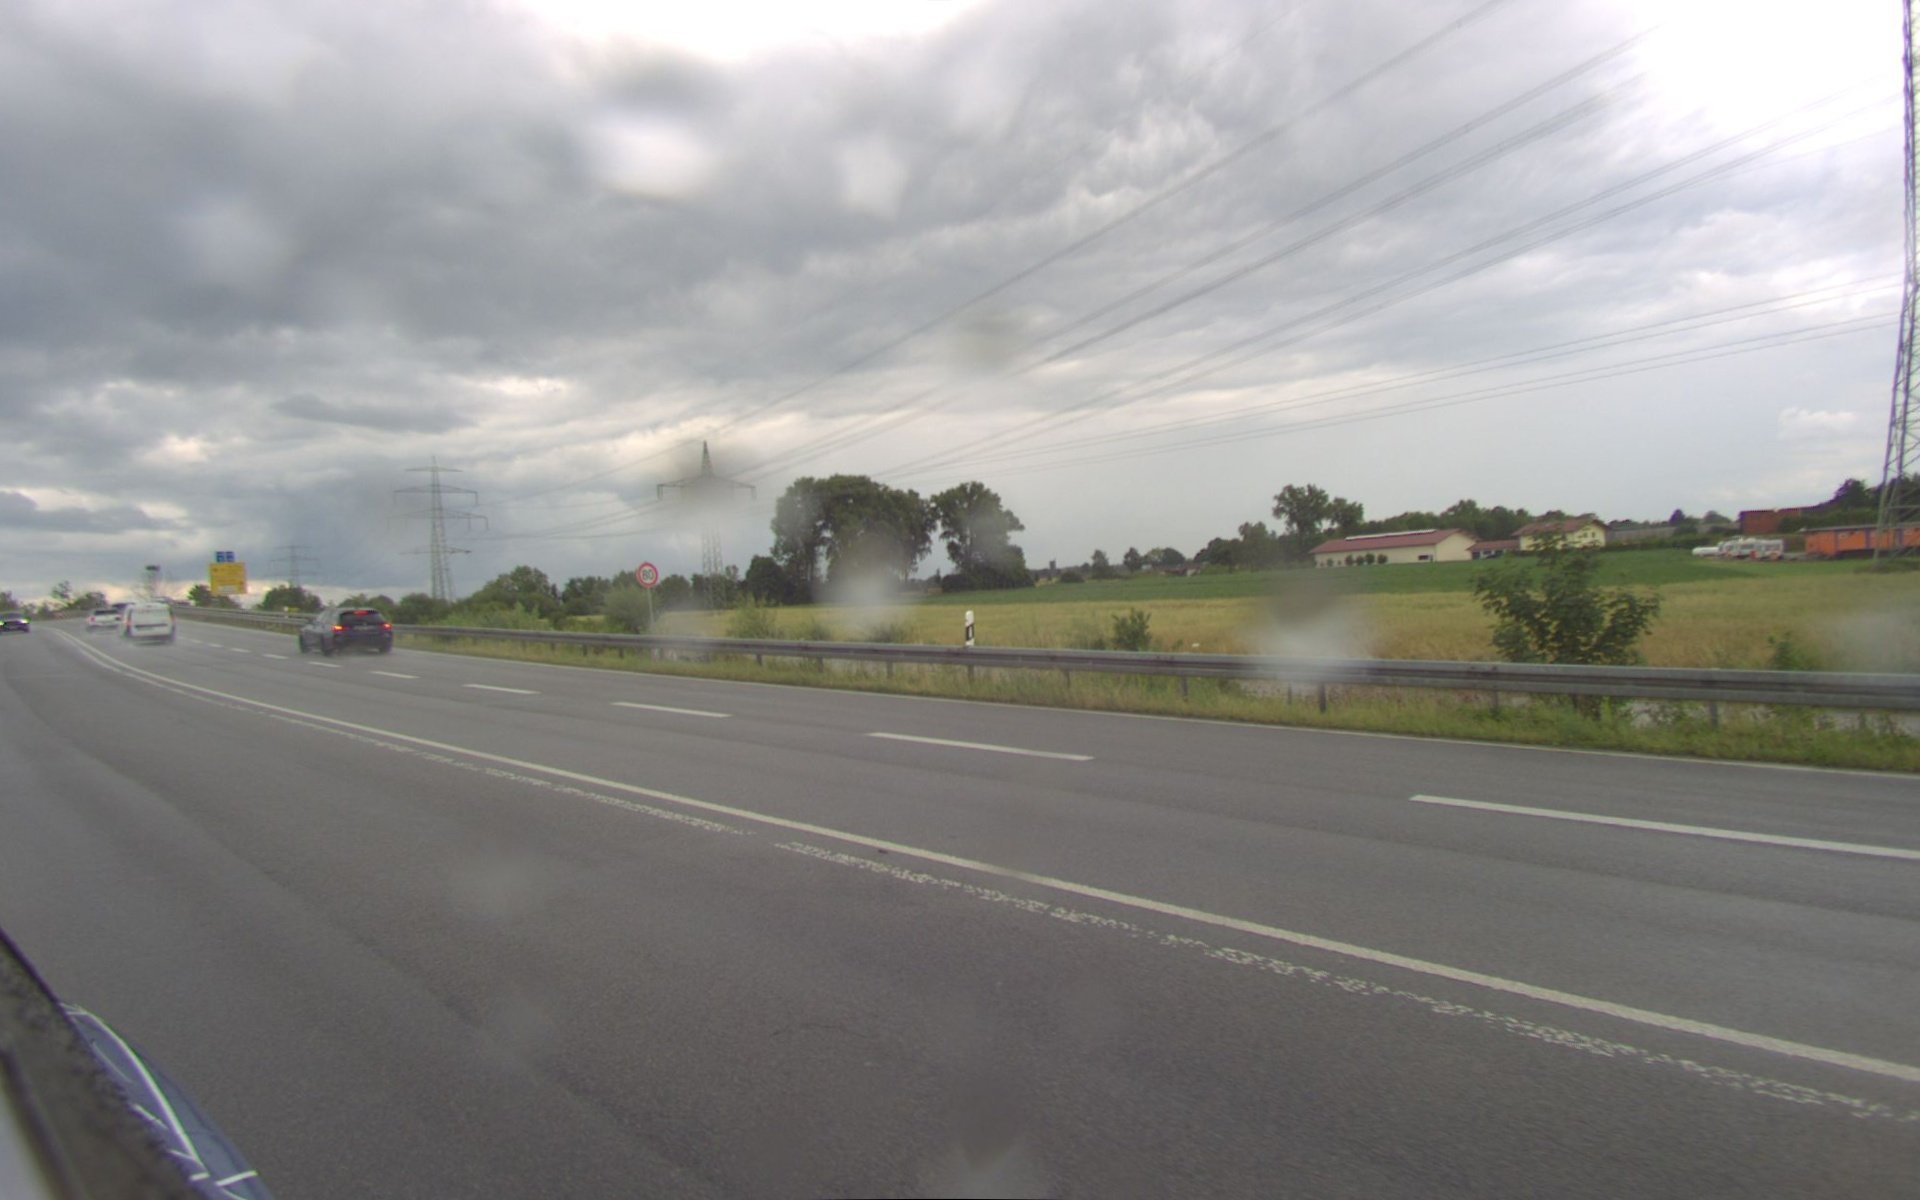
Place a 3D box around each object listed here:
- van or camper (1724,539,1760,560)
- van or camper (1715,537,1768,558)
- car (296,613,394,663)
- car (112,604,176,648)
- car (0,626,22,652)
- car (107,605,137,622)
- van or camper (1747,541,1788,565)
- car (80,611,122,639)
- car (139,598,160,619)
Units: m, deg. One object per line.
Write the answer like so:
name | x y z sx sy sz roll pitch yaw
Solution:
van or camper | 104.642 -6.775 135.535 2.313 2.651 5.677 -3 3 22
van or camper | 112.584 -7.552 145.898 5.695 2.651 2.305 -2 3 31
car | -19.831 1.170 32.529 1.873 1.452 4.907 0 -1 -42
car | -35.128 1.079 43.519 1.769 1.678 4.375 -4 3 -43
car | -70.426 2.926 74.622 1.770 1.782 4.004 -3 -1 -43
car | -75.277 1.204 90.890 1.749 1.437 4.739 -2 1 -43
van or camper | 97.697 -5.743 122.532 2.313 2.651 5.677 -3 3 22
car | -50.778 1.431 59.800 1.745 1.511 4.215 -3 1 -42
car | -110.632 1.191 138.099 1.946 2.674 5.468 -5 3 -40
